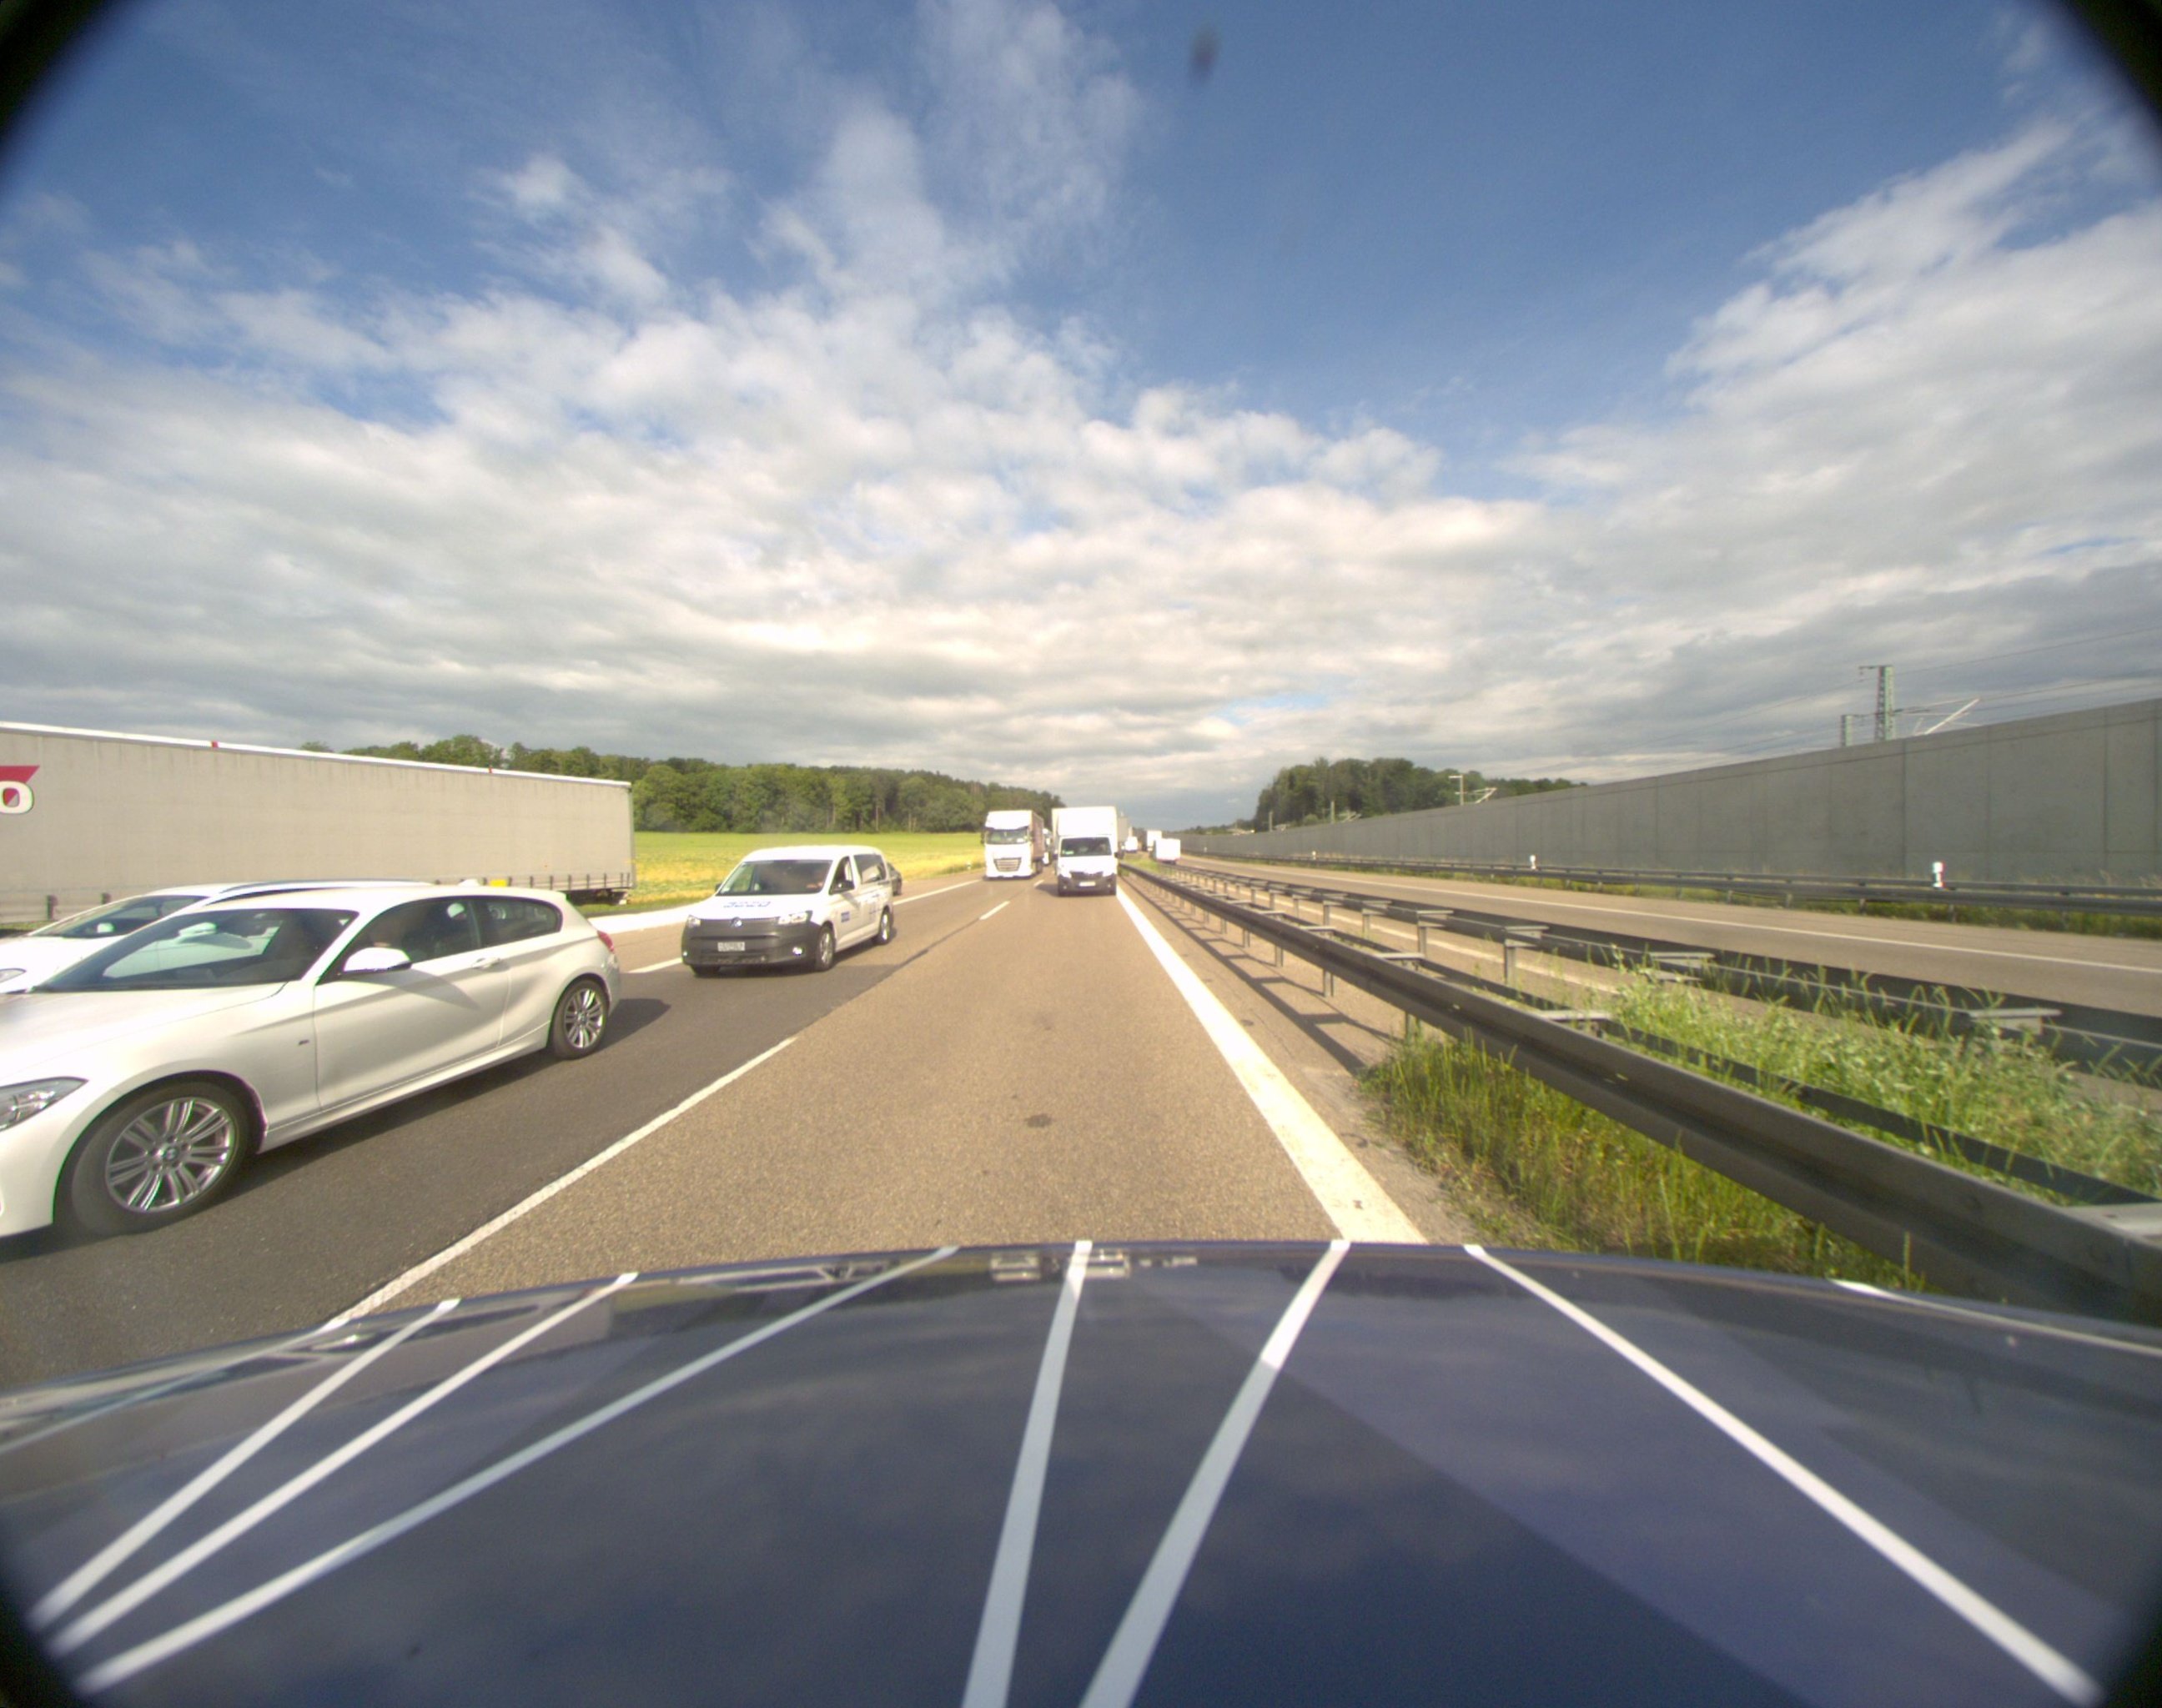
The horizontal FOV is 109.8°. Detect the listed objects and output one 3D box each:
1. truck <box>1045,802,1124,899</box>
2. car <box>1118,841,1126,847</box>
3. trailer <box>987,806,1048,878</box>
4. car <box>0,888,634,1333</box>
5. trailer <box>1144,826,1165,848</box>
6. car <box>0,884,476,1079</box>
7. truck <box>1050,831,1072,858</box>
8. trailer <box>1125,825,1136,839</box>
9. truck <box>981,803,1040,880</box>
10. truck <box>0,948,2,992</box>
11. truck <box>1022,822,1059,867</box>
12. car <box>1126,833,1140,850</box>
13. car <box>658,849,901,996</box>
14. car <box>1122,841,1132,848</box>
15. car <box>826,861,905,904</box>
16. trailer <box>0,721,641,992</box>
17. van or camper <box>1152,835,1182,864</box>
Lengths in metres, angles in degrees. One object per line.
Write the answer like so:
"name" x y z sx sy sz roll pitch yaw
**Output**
"truck" 0.152 -0.155 31.011 2.500 3.082 12.037 -2 0 0
"car" 9.569 -2.281 177.526 1.656 1.443 3.955 -1 1 -2
"trailer" -3.988 -0.844 51.228 2.742 4.137 14.016 -2 1 0
"car" -4.812 1.057 4.518 1.708 1.424 4.232 -2 0 1
"trailer" 14.151 -3.196 147.354 2.797 4.054 13.518 0 1 0
"car" -9.770 1.197 8.463 1.870 1.424 4.632 -2 0 9
"truck" -3.149 -1.555 124.540 2.946 4.094 16.207 -1 0 0
"trailer" 15.644 -6.851 240.008 2.690 4.014 13.790 -1 0 0
"truck" -4.039 -0.725 44.854 2.736 4.150 5.766 -2 1 0
"truck" -18.454 0.101 9.608 2.717 4.149 4.765 -2 0 15
"truck" -3.951 -0.922 76.863 2.946 4.094 12.523 -1 1 0
"car" 9.046 -2.132 132.812 2.109 2.854 5.636 -1 1 0
"car" -4.280 0.836 11.742 1.729 1.746 4.702 -3 1 1
"car" 9.242 -1.942 153.444 1.878 1.443 4.232 -1 1 1
"car" -7.977 1.019 28.520 1.708 1.345 4.183 -3 0 0
"trailer" -16.515 0.019 16.583 2.739 4.136 13.843 -2 0 15
"van or camper" 8.593 -0.462 76.456 2.258 2.688 7.169 -1 0 0
